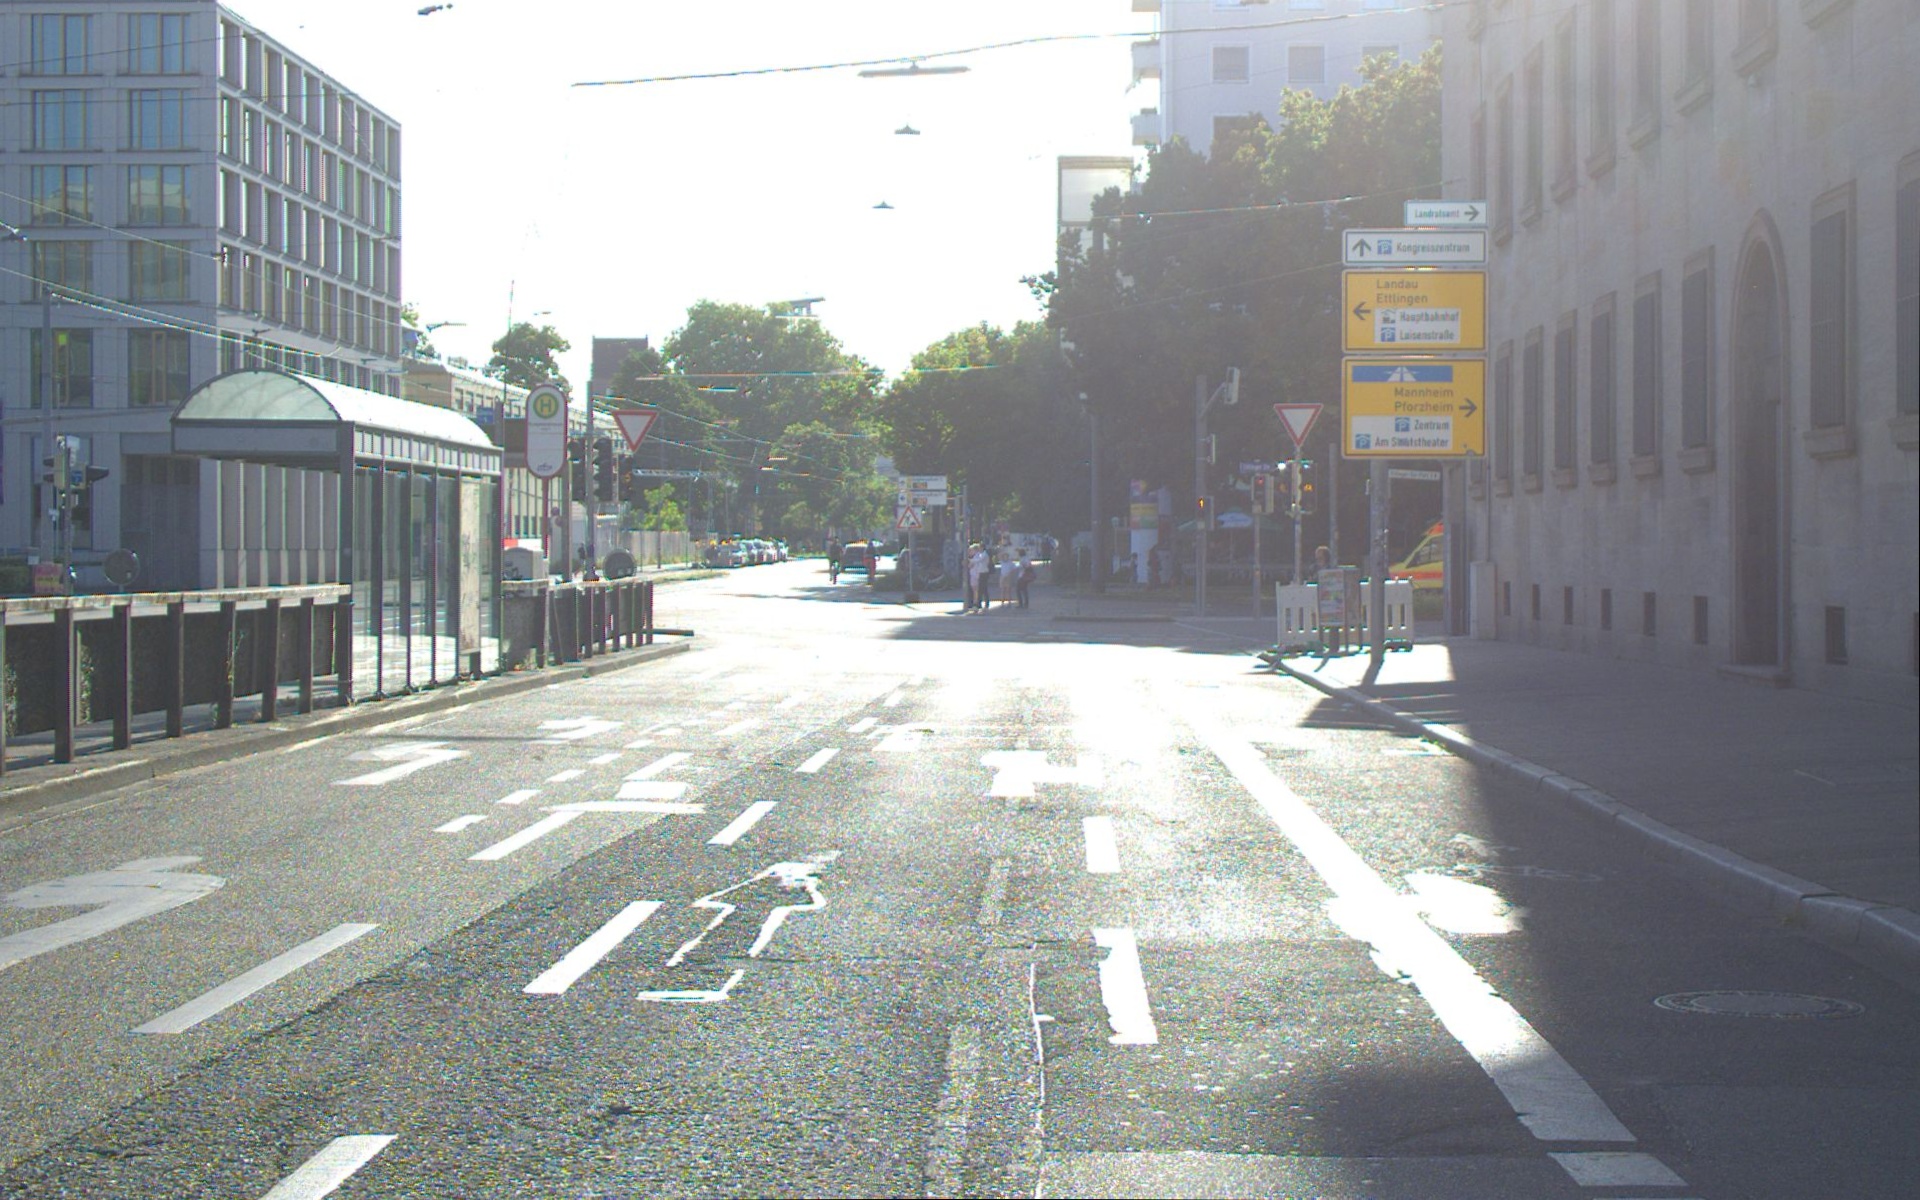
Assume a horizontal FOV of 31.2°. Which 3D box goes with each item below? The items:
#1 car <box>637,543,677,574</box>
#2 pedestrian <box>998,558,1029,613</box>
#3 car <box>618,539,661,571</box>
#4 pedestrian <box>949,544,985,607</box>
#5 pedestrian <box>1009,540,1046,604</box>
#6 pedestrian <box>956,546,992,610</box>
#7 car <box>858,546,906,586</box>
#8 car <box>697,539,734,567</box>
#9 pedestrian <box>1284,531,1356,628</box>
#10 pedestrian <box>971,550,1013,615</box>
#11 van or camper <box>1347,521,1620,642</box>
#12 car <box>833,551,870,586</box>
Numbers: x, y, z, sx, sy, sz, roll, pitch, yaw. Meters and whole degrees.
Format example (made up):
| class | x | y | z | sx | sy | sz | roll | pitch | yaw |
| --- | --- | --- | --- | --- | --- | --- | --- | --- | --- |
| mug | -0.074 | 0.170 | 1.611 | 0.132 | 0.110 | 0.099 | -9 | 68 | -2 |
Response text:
| class | x | y | z | sx | sy | sz | roll | pitch | yaw |
| --- | --- | --- | --- | --- | --- | --- | --- | --- | --- |
| car | -17.191 | -2.358 | 195.409 | 1.819 | 1.706 | 3.805 | 0 | 1 | 2 |
| pedestrian | 1.510 | -0.417 | 97.150 | 0.762 | 1.553 | 0.588 | 0 | 1 | -14 |
| car | -17.185 | -2.437 | 184.504 | 1.819 | 1.706 | 3.805 | 0 | 1 | 2 |
| pedestrian | 0.198 | -0.692 | 97.741 | 0.847 | 1.778 | 0.780 | 0 | 1 | -14 |
| pedestrian | 1.881 | -0.779 | 96.350 | 0.847 | 1.778 | 0.780 | 0 | 1 | -14 |
| pedestrian | 0.387 | -0.627 | 96.892 | 0.847 | 1.778 | 0.780 | 0 | 1 | -14 |
| car | -3.049 | -1.329 | 134.691 | 1.684 | 1.495 | 3.508 | 2 | 0 | 2 |
| car | -14.736 | -2.845 | 207.151 | 1.819 | 1.706 | 3.805 | 0 | 1 | 2 |
| pedestrian | 6.465 | -0.379 | 61.825 | 1.039 | 1.715 | 1.035 | 0 | 1 | -9 |
| pedestrian | 0.886 | -0.490 | 95.304 | 0.965 | 1.778 | 0.780 | 0 | 1 | -14 |
| van or camper | 13.355 | -0.483 | 88.158 | 6.710 | 2.852 | 2.910 | 2 | 0 | 6 |
| car | -5.634 | -1.641 | 179.321 | 1.684 | 1.731 | 3.508 | 2 | 0 | 2 |
